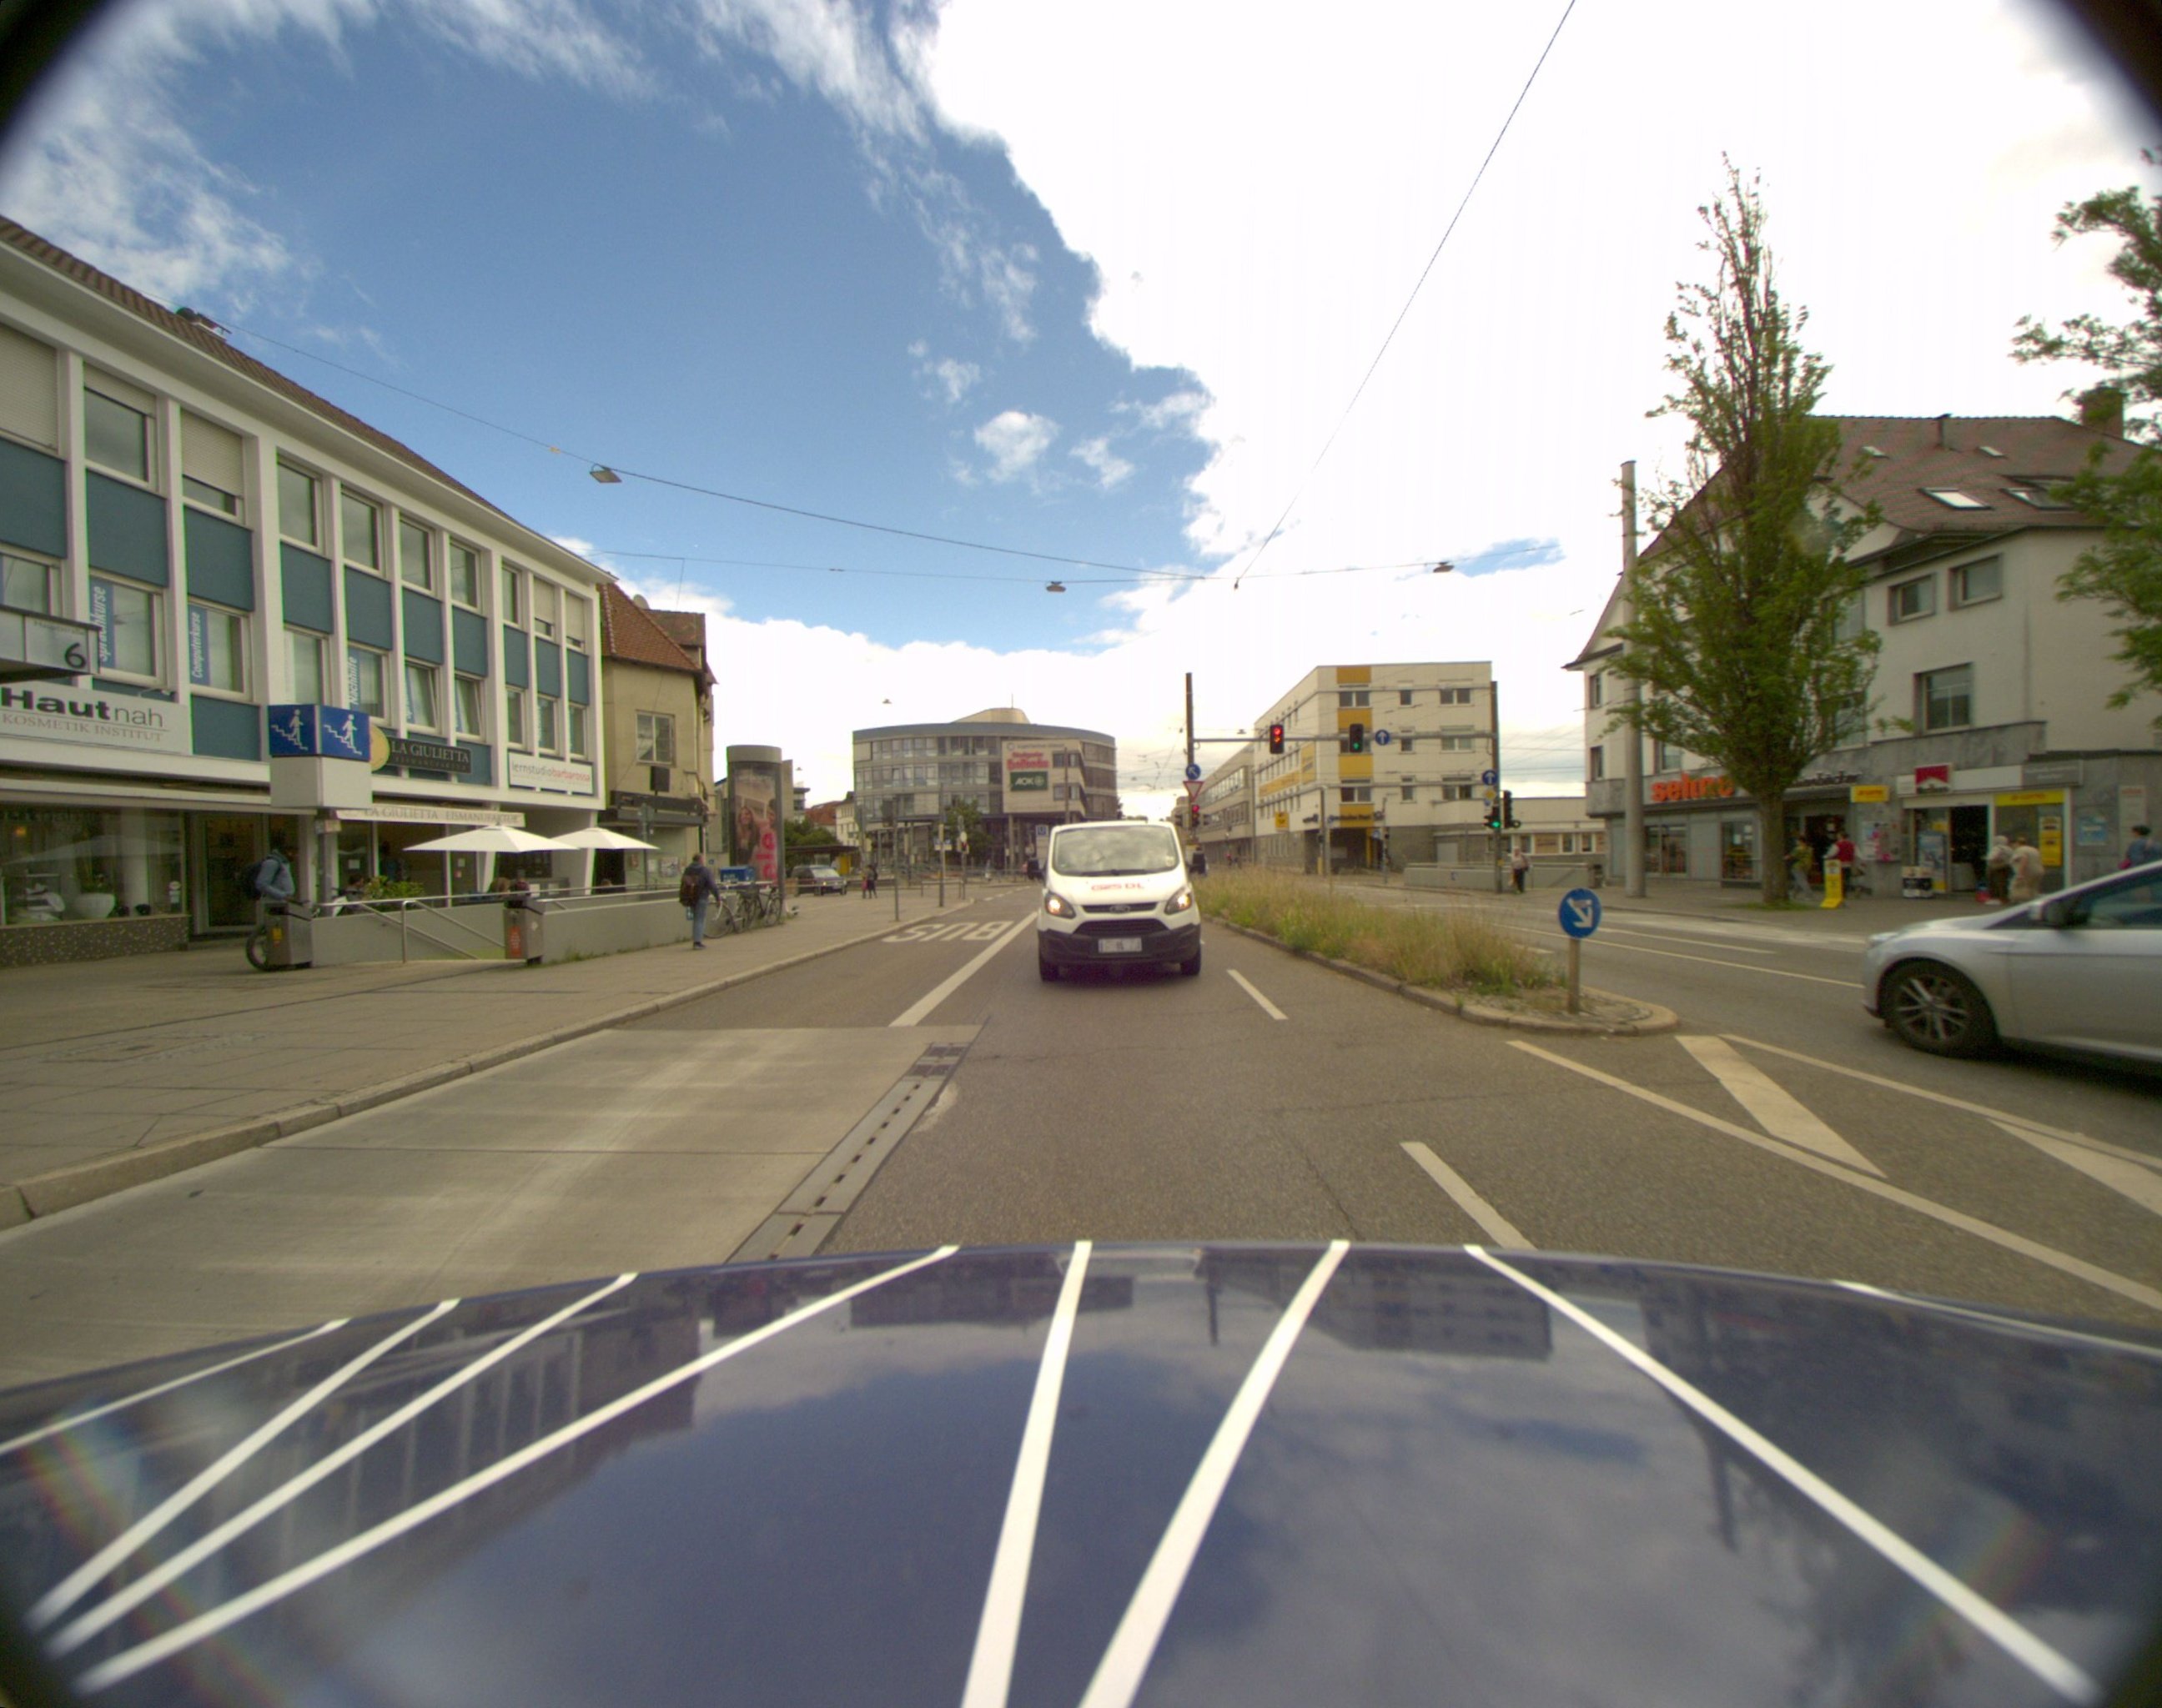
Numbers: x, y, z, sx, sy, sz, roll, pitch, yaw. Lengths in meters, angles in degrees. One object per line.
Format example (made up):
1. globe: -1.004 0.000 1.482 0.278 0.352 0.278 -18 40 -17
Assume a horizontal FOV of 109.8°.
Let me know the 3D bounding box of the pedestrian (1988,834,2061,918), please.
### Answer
1. pedestrian: 18.964 0.442 15.283 0.587 1.625 0.615 -4 0 0

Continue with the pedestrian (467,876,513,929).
1. pedestrian: -13.882 1.137 17.853 0.614 1.213 0.588 0 0 0

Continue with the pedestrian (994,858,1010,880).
1. pedestrian: -6.008 1.117 57.809 0.847 1.625 0.644 -4 0 -31

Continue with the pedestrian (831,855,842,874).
1. pedestrian: -22.822 0.947 70.940 0.613 1.733 0.697 -4 0 39

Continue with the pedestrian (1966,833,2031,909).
1. pedestrian: 20.282 0.371 16.813 0.587 1.625 0.615 -4 0 0

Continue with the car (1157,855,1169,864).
1. car: 15.255 1.036 141.738 2.073 1.728 4.694 1 0 3

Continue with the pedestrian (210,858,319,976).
1. pedestrian: -11.705 0.873 10.921 0.668 1.625 0.800 -1 0 0

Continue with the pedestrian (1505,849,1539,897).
1. pedestrian: 15.427 0.666 26.580 0.702 1.625 0.614 -4 0 -8

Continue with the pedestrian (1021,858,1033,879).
1. pedestrian: -4.212 1.131 59.080 0.589 1.625 0.525 -4 0 -43

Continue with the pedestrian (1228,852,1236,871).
1. pedestrian: 14.469 0.690 72.906 0.587 1.792 0.526 -4 0 2

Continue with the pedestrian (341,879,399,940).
1. pedestrian: -14.706 1.137 15.723 0.614 1.213 0.588 -2 0 0

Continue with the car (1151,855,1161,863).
1. car: 16.173 1.078 163.788 2.073 1.728 4.694 1 0 3

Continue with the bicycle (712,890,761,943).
1. bicycle: -6.965 1.245 15.398 0.274 0.968 1.388 -1 0 4

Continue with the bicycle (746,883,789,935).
1. bicycle: -6.951 1.201 16.891 0.274 1.047 1.388 -1 0 4

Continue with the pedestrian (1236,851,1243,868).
1. pedestrian: 17.150 0.598 82.299 0.587 1.792 0.526 -4 0 2

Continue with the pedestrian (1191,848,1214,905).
1. pedestrian: 3.500 0.642 21.944 0.504 1.625 0.663 -1 0 -4

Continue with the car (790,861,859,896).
1. car: -15.067 1.412 44.494 1.884 1.884 4.914 -2 0 -43

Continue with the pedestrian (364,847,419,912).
1. pedestrian: -15.959 0.580 17.599 0.614 1.452 0.588 -4 0 1

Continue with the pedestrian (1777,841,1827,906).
1. pedestrian: 18.726 0.490 19.740 0.587 1.625 0.615 -4 0 0

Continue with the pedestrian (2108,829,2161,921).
1. pedestrian: 20.172 0.379 14.391 0.587 1.702 0.615 -1 0 0

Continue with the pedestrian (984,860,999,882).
1. pedestrian: -6.680 1.269 56.854 0.808 1.637 0.886 -2 0 -29

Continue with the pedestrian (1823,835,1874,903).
1. pedestrian: 19.795 0.389 19.608 0.587 1.702 0.615 -4 0 0

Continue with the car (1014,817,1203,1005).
1. car: 0.532 0.642 10.813 1.998 2.002 5.001 -2 0 5

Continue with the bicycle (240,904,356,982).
1. bicycle: -11.201 1.239 10.924 0.274 0.968 1.387 -1 0 -3

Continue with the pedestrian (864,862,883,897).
1. pedestrian: -9.752 1.205 35.640 0.589 1.612 0.743 -4 0 -29

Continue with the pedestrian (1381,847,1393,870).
1. pedestrian: 21.535 0.318 53.424 0.587 1.625 0.615 -1 0 2

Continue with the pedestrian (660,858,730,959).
1. pedestrian: -6.414 0.879 12.668 0.689 1.625 0.853 -1 0 1

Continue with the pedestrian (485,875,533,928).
1. pedestrian: -13.906 1.139 18.484 0.614 1.213 0.588 -4 0 0

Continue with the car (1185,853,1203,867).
1. car: 16.911 0.843 113.527 1.998 2.002 4.487 -2 0 0

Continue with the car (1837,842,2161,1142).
1. car: 6.315 0.692 3.273 1.878 1.497 4.344 0 1 2

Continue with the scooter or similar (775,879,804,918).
1. scooter or similar: -8.867 1.331 23.127 0.315 1.126 1.208 -1 0 4

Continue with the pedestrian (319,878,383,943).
1. pedestrian: -14.407 1.103 15.006 0.614 1.213 0.588 -4 0 0

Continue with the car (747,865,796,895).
1. car: -21.125 1.734 51.747 1.884 1.884 4.915 -2 0 -36
